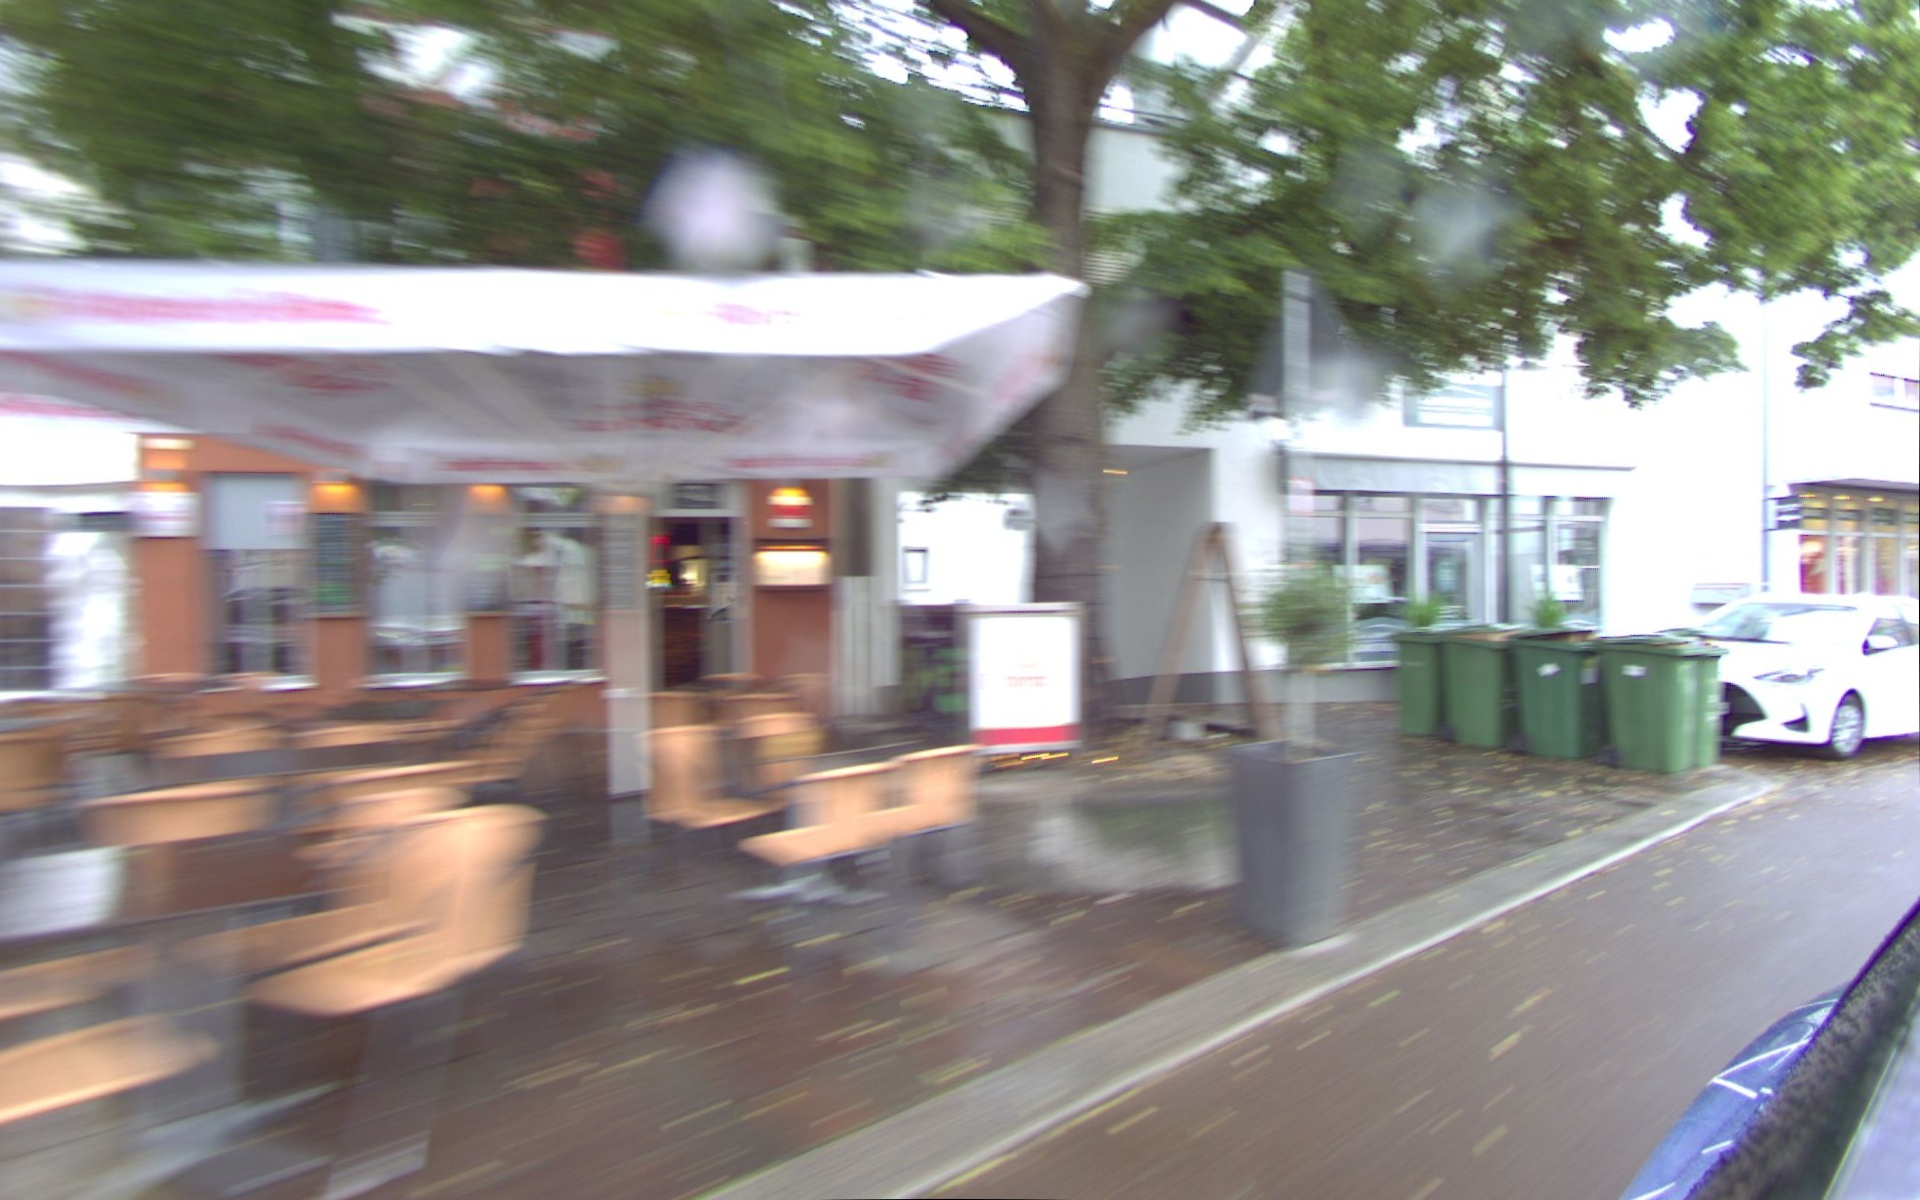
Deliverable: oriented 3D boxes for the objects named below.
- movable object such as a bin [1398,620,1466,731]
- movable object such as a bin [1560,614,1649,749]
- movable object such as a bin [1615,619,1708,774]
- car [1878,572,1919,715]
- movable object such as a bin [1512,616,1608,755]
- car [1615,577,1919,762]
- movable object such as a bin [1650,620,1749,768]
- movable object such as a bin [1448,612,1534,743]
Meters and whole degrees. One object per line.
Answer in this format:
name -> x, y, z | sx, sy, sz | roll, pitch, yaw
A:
movable object such as a bin -> 4.728, 0.738, 10.141 | 0.491, 1.060, 0.431 | -1, 0, -34
movable object such as a bin -> 5.900, 0.725, 9.269 | 0.491, 1.164, 0.532 | -1, 0, -34
movable object such as a bin -> 5.699, 0.756, 8.224 | 0.479, 1.183, 0.478 | -1, 0, -34
car -> 13.431, 0.502, 12.591 | 3.877, 1.710, 1.698 | -1, 1, -27
movable object such as a bin -> 5.337, 0.734, 9.004 | 0.574, 1.164, 0.546 | -1, 0, -34
car -> 8.803, 0.608, 10.246 | 4.313, 1.559, 1.698 | 1, 0, -27
movable object such as a bin -> 6.223, 0.764, 8.523 | 0.491, 1.164, 0.535 | -1, 0, -34
movable object such as a bin -> 4.969, 0.700, 9.478 | 0.569, 1.164, 0.505 | -1, 0, -34
